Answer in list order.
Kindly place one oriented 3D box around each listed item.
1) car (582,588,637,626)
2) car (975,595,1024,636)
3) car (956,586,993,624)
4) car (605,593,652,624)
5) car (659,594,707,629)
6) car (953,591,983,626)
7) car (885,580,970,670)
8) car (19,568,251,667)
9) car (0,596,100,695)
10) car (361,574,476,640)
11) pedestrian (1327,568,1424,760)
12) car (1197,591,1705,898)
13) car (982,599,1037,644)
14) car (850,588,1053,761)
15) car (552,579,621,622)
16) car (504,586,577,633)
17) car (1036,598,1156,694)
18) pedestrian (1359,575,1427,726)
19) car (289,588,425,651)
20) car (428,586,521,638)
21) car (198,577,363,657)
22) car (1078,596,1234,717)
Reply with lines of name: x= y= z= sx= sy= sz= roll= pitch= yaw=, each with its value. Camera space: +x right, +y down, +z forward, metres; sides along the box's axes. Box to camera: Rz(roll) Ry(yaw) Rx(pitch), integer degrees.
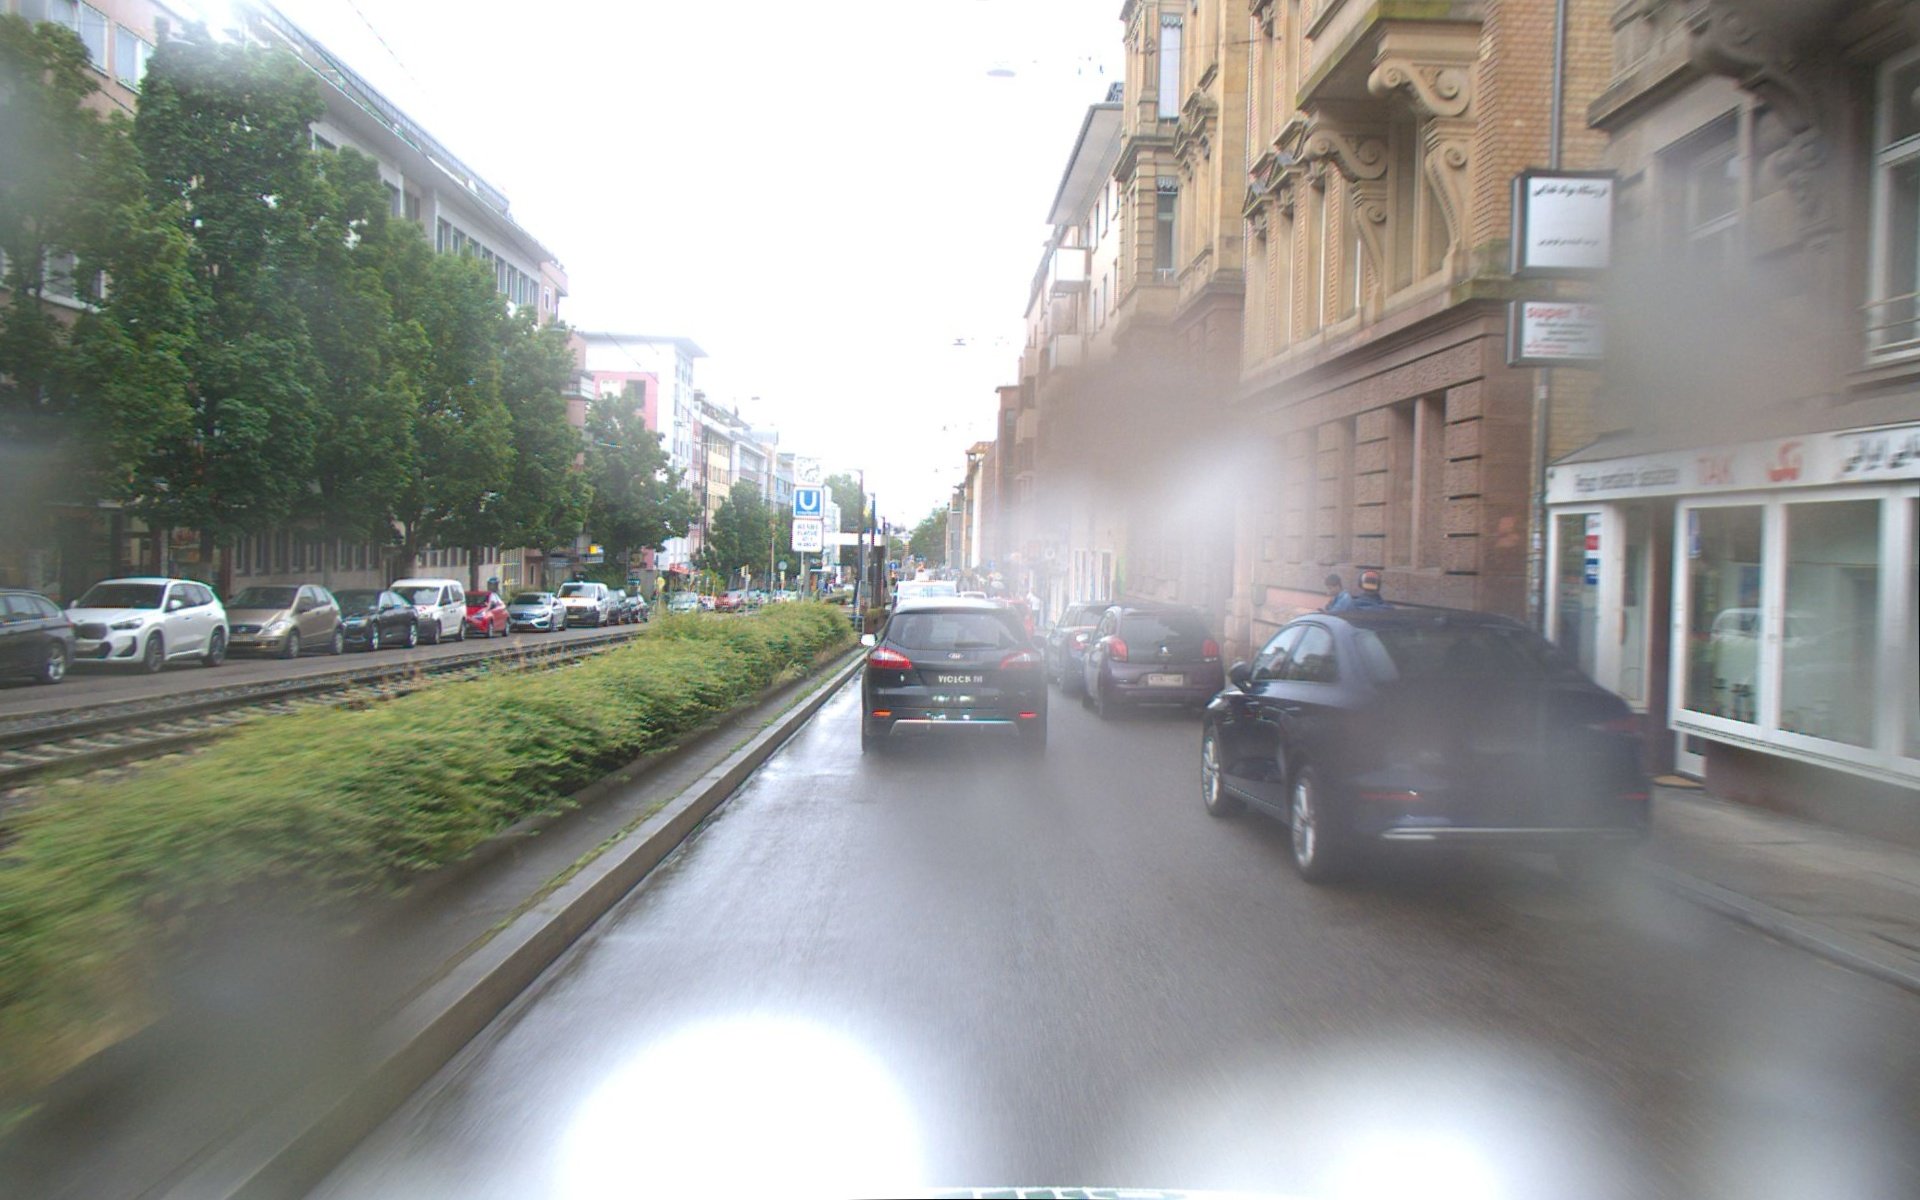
car: x=-16.123 y=0.342 z=76.285 sx=1.660 sy=1.601 sz=4.044 roll=2 pitch=-1 yaw=-1
car: x=1.457 y=0.576 z=62.085 sx=1.637 sy=1.446 sz=3.475 roll=1 pitch=0 yaw=-2
car: x=0.735 y=0.307 z=87.980 sx=1.802 sy=1.812 sz=3.777 roll=3 pitch=-2 yaw=-1
car: x=-16.387 y=0.441 z=81.909 sx=1.519 sy=1.419 sz=4.044 roll=2 pitch=-1 yaw=-1
car: x=-14.098 y=0.625 z=84.350 sx=1.818 sy=1.665 sz=4.044 roll=2 pitch=-1 yaw=-1
car: x=0.428 y=0.507 z=94.079 sx=1.559 sy=1.812 sz=3.777 roll=3 pitch=-2 yaw=-1
car: x=-0.754 y=0.568 z=41.601 sx=1.947 sy=2.096 sz=4.645 roll=1 pitch=0 yaw=1
car: x=-14.725 y=0.343 z=29.863 sx=1.818 sy=1.576 sz=4.719 roll=2 pitch=-1 yaw=-1
car: x=-14.448 y=0.627 z=23.814 sx=1.659 sy=1.402 sz=4.719 roll=2 pitch=-2 yaw=-1
car: x=-15.266 y=0.238 z=46.875 sx=1.818 sy=1.731 sz=4.429 roll=2 pitch=-1 yaw=-1
pedestrian: x=4.140 y=0.611 z=16.536 sx=0.689 sy=1.851 sz=0.961 roll=-1 pitch=1 yaw=-1
car: x=2.676 y=0.738 z=10.101 sx=1.755 sy=1.431 sz=4.256 roll=1 pitch=-1 yaw=-1
car: x=1.643 y=0.714 z=55.539 sx=1.637 sy=1.446 sz=3.475 roll=1 pitch=0 yaw=-2
car: x=-0.187 y=0.681 z=16.763 sx=1.806 sy=1.533 sz=3.997 roll=1 pitch=-1 yaw=-3
car: x=-15.724 y=0.051 z=69.829 sx=1.818 sy=1.665 sz=4.933 roll=2 pitch=-1 yaw=-1
car: x=-15.264 y=0.386 z=60.312 sx=1.634 sy=1.585 sz=4.044 roll=2 pitch=-1 yaw=-1
car: x=2.224 y=0.736 z=27.865 sx=1.545 sy=1.485 sz=3.819 roll=1 pitch=0 yaw=-2
pedestrian: x=4.741 y=0.554 z=18.155 sx=0.509 sy=1.607 sz=0.677 roll=-1 pitch=-2 yaw=-1
car: x=-14.881 y=0.507 z=41.043 sx=1.818 sy=1.443 sz=4.429 roll=-1 pitch=-1 yaw=-1
car: x=-15.528 y=0.423 z=53.086 sx=1.818 sy=1.553 sz=4.044 roll=2 pitch=-1 yaw=-1
car: x=-14.831 y=0.401 z=36.368 sx=1.818 sy=1.576 sz=4.429 roll=2 pitch=-1 yaw=-1
car: x=2.560 y=0.713 z=22.289 sx=1.616 sy=1.485 sz=3.475 roll=1 pitch=0 yaw=-1
